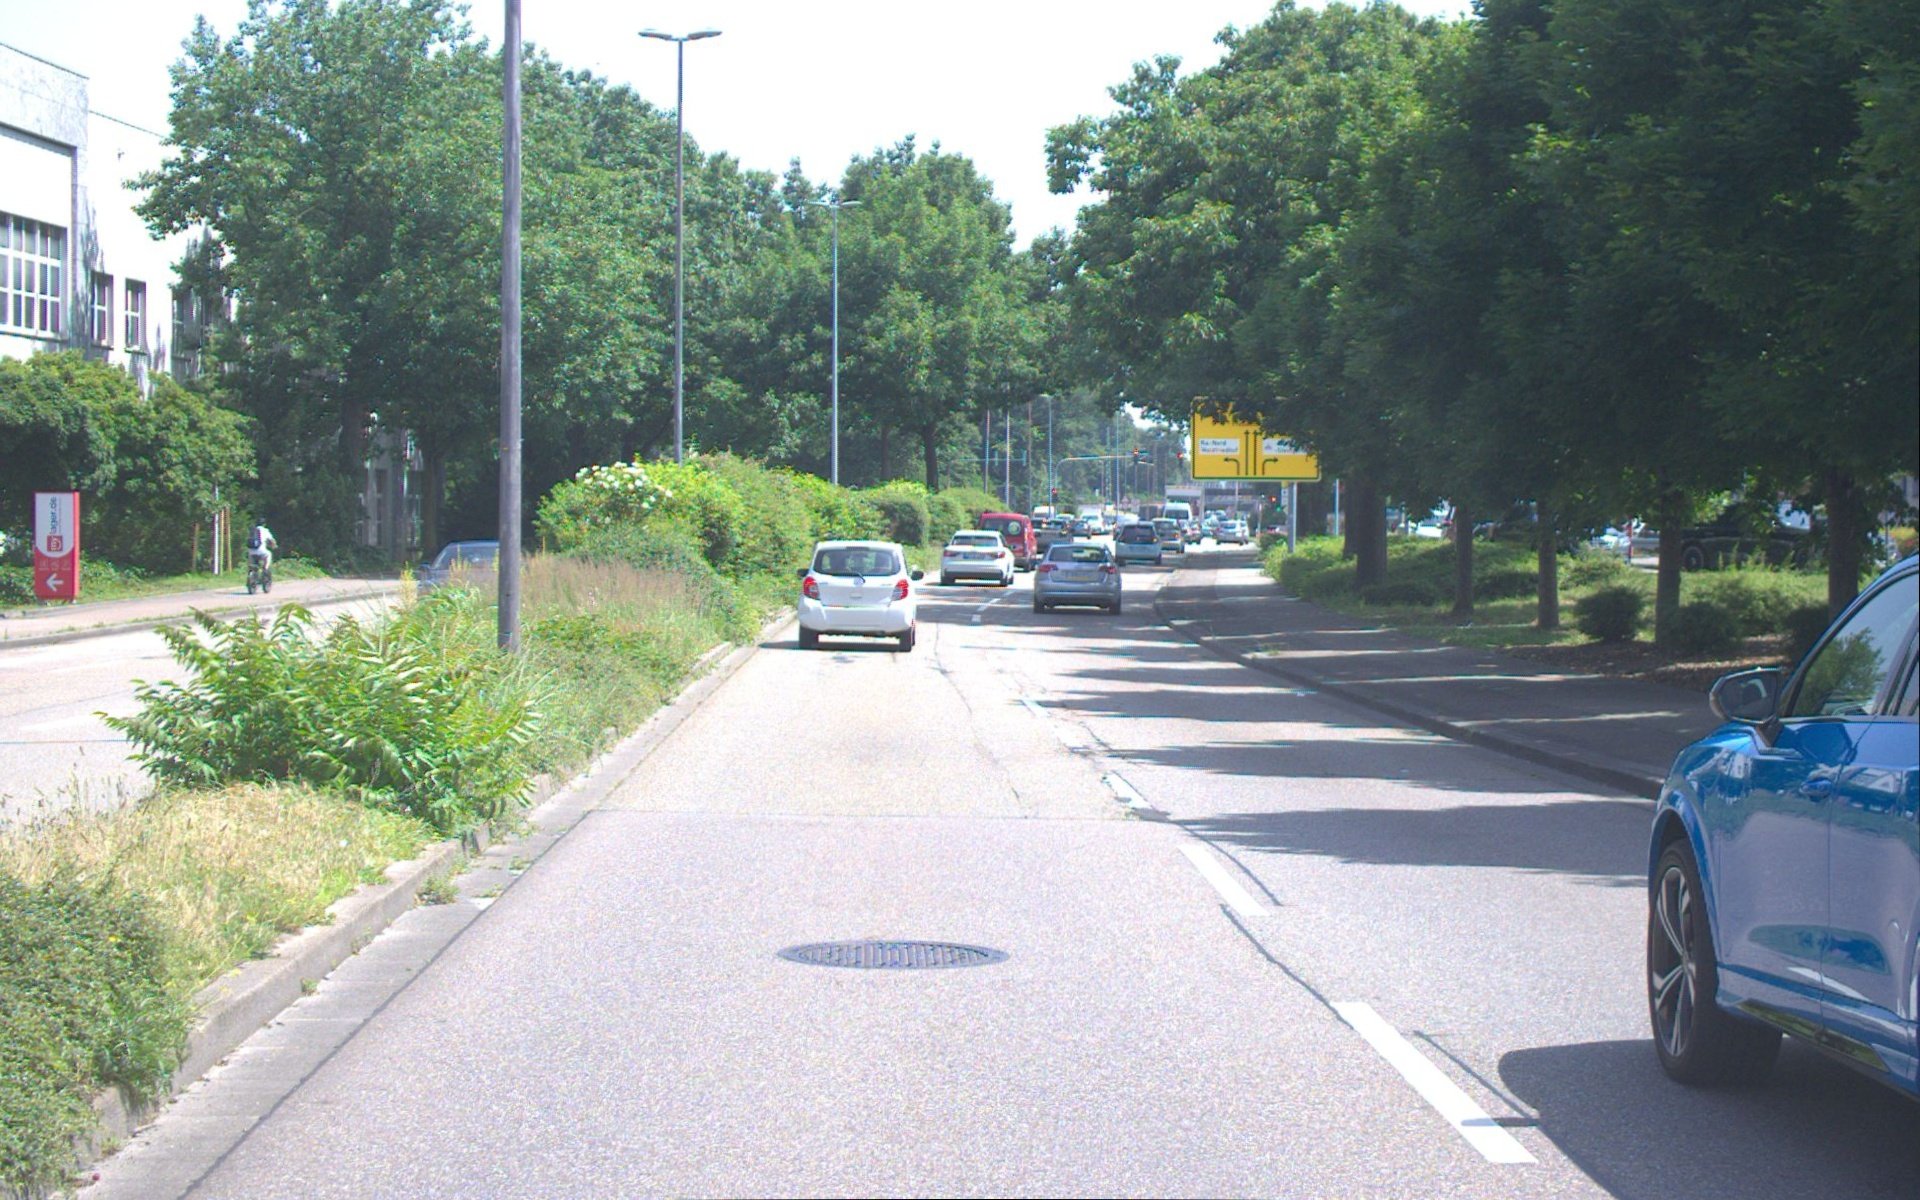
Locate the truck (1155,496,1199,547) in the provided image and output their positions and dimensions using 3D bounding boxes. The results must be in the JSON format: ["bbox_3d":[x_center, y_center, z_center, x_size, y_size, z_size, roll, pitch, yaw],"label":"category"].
[{"bbox_3d":[15.174,-5.488,240.124,2.932,3.490,9.157,0,1,5],"label":"truck"}]

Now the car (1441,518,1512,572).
[{"bbox_3d":[12.561,-1.333,83.687,1.619,1.248,3.762,2,1,8],"label":"car"}]

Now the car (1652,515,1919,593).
[{"bbox_3d":[15.099,-0.845,63.078,1.947,1.347,4.715,-2,1,-33],"label":"car"}]

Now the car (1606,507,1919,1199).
[{"bbox_3d":[2.958,0.598,8.429,1.808,1.587,4.350,1,1,-1],"label":"car"}]

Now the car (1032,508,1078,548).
[{"bbox_3d":[3.451,-2.619,125.415,1.487,1.387,3.308,1,1,-1],"label":"car"}]

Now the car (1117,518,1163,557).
[{"bbox_3d":[6.511,-2.260,124.431,1.441,1.343,3.460,-1,1,-1],"label":"car"}]

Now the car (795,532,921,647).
[{"bbox_3d":[-1.422,-0.171,49.111,1.638,1.546,3.325,1,1,1],"label":"car"}]

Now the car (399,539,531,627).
[{"bbox_3d":[-8.553,-0.320,59.681,1.722,1.412,4.247,-1,1,-1],"label":"car"}]

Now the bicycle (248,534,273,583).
[{"bbox_3d":[-15.298,-0.911,75.245,0.346,1.064,0.923,-1,1,-1],"label":"bicycle"}]

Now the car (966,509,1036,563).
[{"bbox_3d":[1.267,-1.956,105.372,1.885,1.603,4.000,-1,1,4],"label":"car"}]

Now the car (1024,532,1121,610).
[{"bbox_3d":[2.269,-0.597,69.063,1.866,1.468,4.000,2,1,2],"label":"car"}]

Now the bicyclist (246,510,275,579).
[{"bbox_3d":[-15.314,-1.224,75.294,0.545,1.504,0.343,-1,1,-1],"label":"bicyclist"}]

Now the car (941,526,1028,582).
[{"bbox_3d":[0.648,-1.180,88.144,1.885,1.349,3.999,2,1,5],"label":"car"}]
